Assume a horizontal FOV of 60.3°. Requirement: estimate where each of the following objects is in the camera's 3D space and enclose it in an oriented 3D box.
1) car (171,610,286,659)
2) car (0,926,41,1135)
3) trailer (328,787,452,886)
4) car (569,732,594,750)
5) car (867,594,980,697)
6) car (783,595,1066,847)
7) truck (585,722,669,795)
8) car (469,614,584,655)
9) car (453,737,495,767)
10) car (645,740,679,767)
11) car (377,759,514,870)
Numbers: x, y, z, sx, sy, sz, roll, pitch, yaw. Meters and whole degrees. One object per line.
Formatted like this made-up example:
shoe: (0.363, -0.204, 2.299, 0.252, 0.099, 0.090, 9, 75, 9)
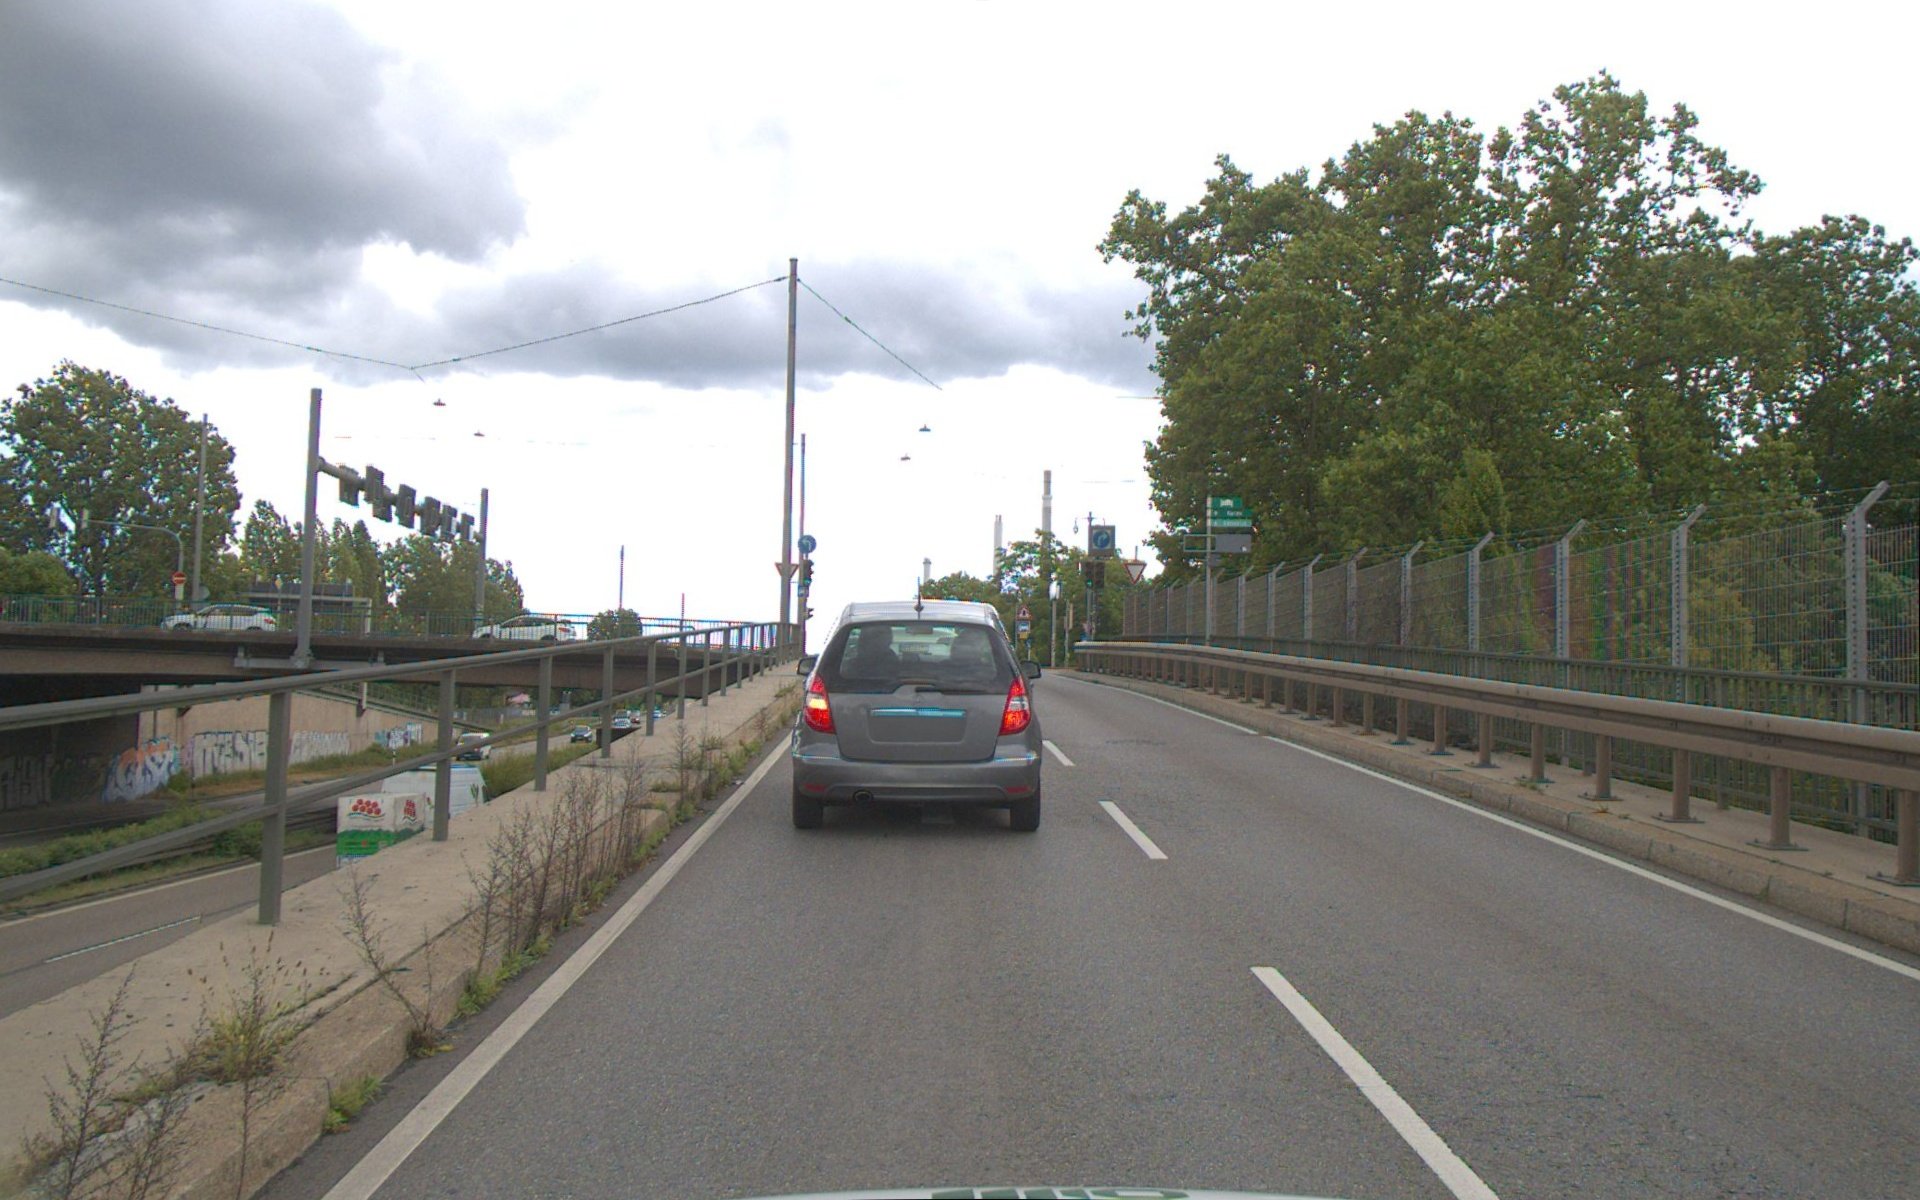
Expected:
car: (-29.666, 1.400, 67.208, 4.143, 1.903, 1.986, 1, -1, -23)
car: (-10.136, 4.010, 13.852, 1.953, 1.910, 5.196, 1, -4, -1)
trailer: (-14.163, 5.852, 41.321, 1.693, 2.167, 3.934, 1, -4, -1)
car: (-39.164, 14.613, 171.260, 1.877, 1.769, 4.548, 0, -4, -4)
car: (-0.744, 0.813, 30.749, 1.893, 1.747, 4.402, 1, -1, -4)
car: (-0.253, 0.807, 12.804, 1.820, 1.616, 3.999, 1, -1, -1)
truck: (-16.382, 7.769, 81.883, 2.690, 3.351, 7.438, 1, -4, -1)
car: (-18.068, 1.429, 69.098, 4.241, 1.604, 1.839, 1, -1, 3)
car: (-37.042, 11.585, 126.192, 1.954, 2.103, 5.171, 1, -4, -4)
car: (-24.363, 12.549, 135.270, 1.860, 2.038, 4.956, 1, -4, -1)
car: (-14.238, 5.900, 46.195, 1.953, 2.732, 5.930, 1, -4, -1)
